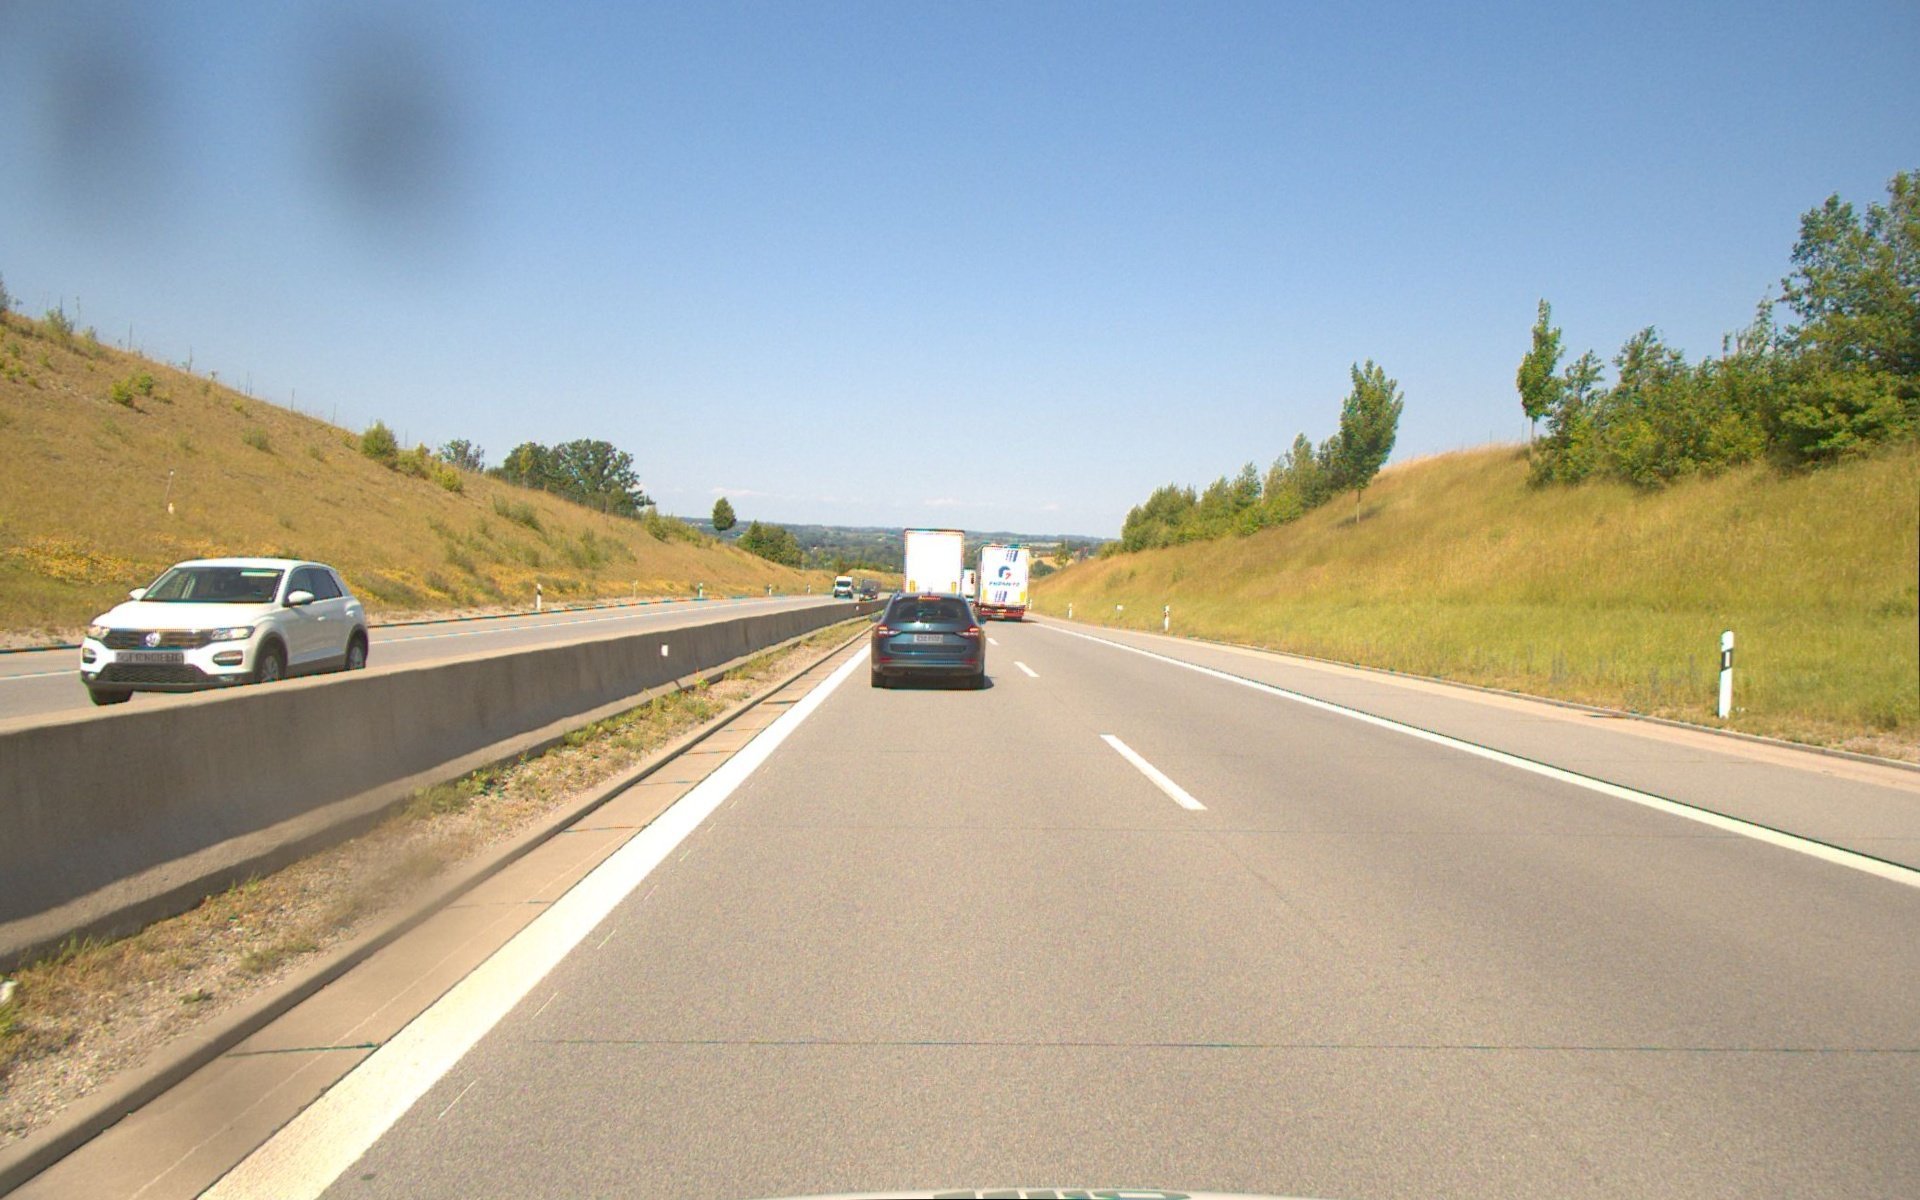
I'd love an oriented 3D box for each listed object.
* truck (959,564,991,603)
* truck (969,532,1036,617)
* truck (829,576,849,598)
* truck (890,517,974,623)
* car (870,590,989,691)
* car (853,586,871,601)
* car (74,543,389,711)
[{"bbox_3d":[1.891,-2.014,198.279,3.529,4.458,11.236,1,0,2],"label":"truck"},{"bbox_3d":[2.457,-1.393,93.758,3.529,4.458,11.236,1,0,2],"label":"truck"},{"bbox_3d":[-14.091,-1.534,192.569,1.953,2.491,5.666,3,0,-1],"label":"truck"},{"bbox_3d":[-1.130,-1.331,75.832,3.144,4.458,11.237,1,0,2],"label":"truck"},{"bbox_3d":[-0.506,0.583,26.308,1.741,1.466,3.787,0,1,-2],"label":"car"},{"bbox_3d":[-9.860,-0.642,167.400,1.738,1.474,4.181,2,0,-3],"label":"car"},{"bbox_3d":[-7.917,0.250,18.418,1.739,1.629,4.038,1,0,-1],"label":"car"}]
